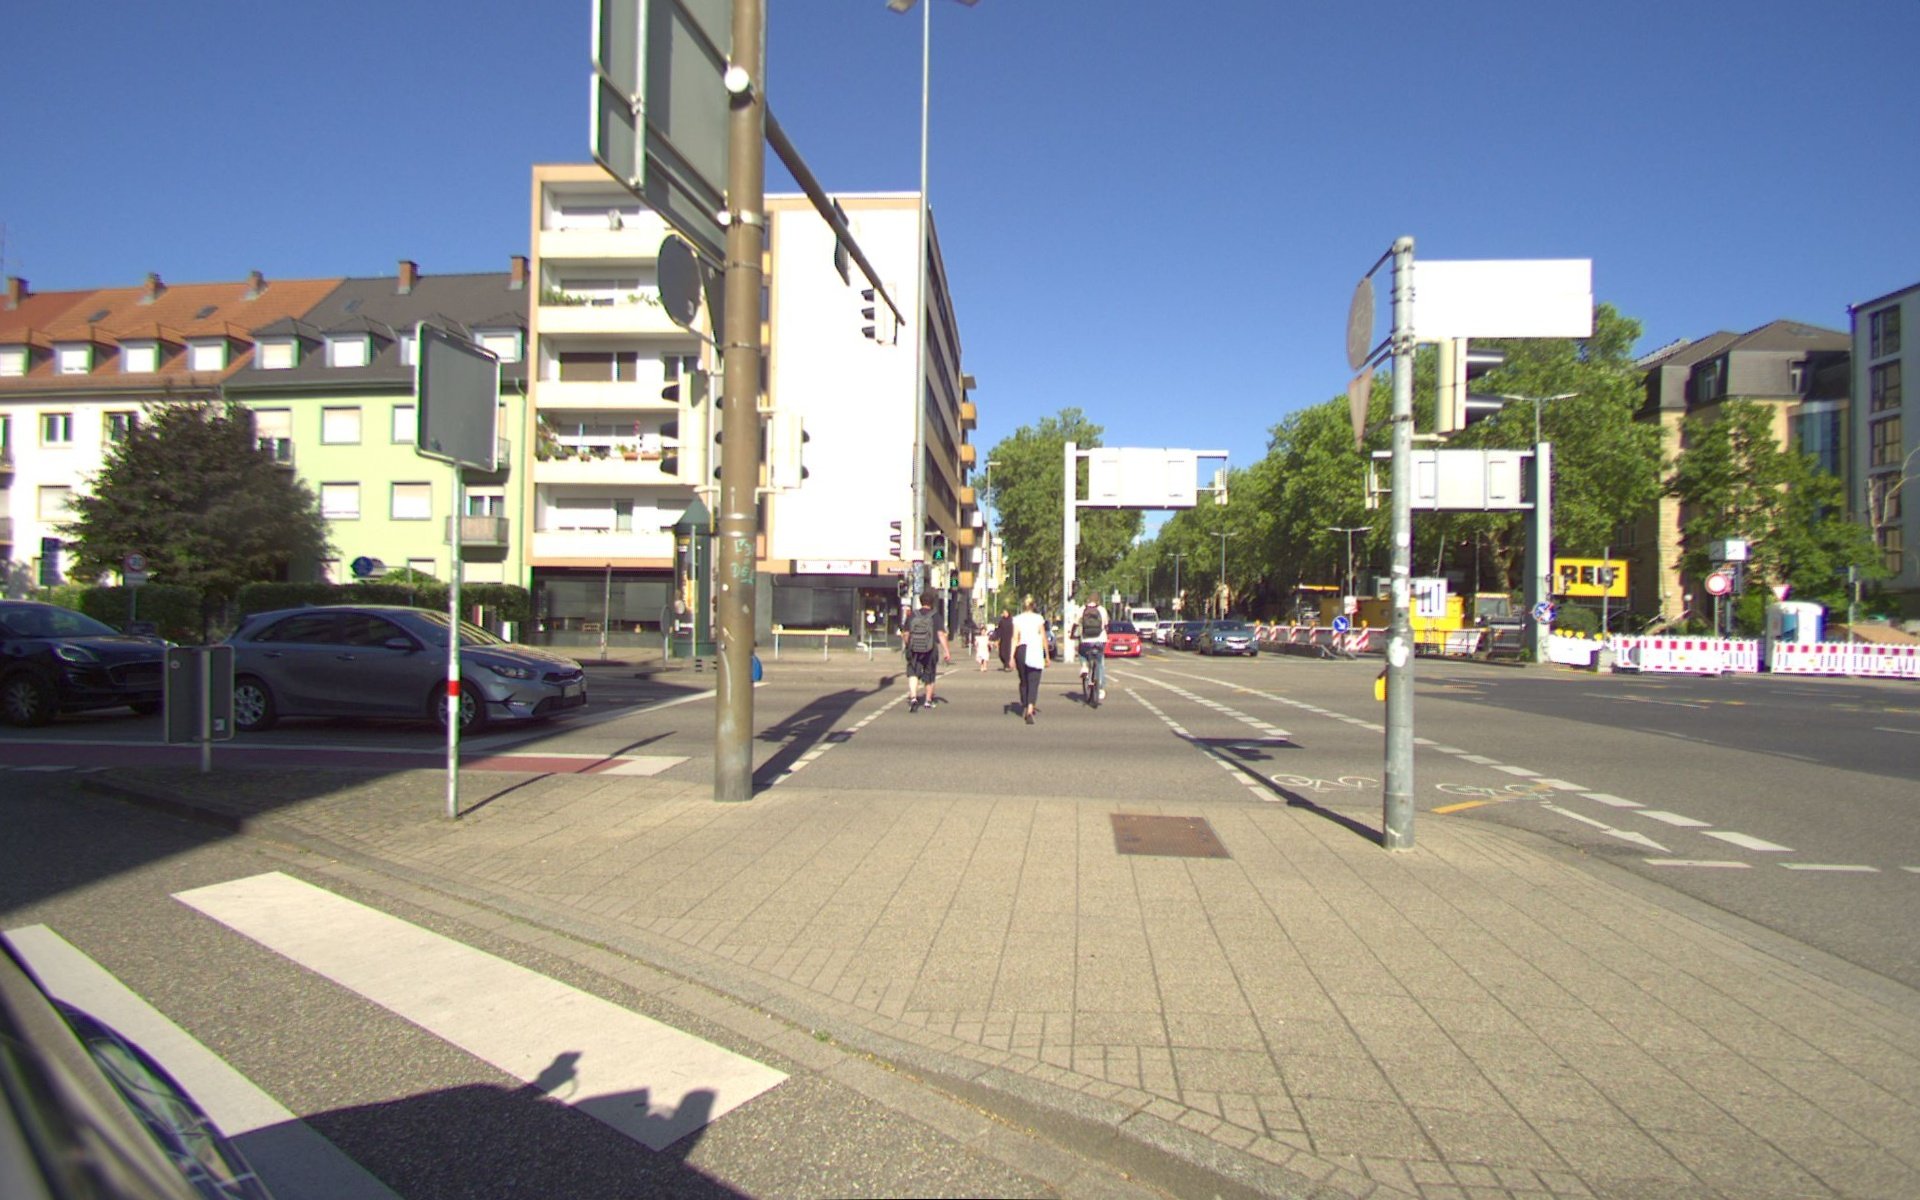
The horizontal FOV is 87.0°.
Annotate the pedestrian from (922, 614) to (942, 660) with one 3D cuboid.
[{"bbox_3d":[-1.081,1.419,39.032,0.710,1.691,0.696,0,1,3],"label":"pedestrian"}]

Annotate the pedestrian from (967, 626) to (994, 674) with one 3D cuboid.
[{"bbox_3d":[0.544,1.317,26.738,0.641,1.211,0.524,0,1,12],"label":"pedestrian"}]

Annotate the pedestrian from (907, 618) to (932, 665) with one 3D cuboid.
[{"bbox_3d":[-1.505,1.533,37.625,0.707,1.691,0.699,-1,2,-25],"label":"pedestrian"}]

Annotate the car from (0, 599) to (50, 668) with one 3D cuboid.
[{"bbox_3d":[-28.919,0.958,29.028,4.113,1.871,1.803,0,1,4],"label":"car"}]

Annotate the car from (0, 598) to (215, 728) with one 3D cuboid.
[{"bbox_3d":[-12.006,0.751,12.920,4.028,1.503,1.692,0,-1,9],"label":"car"}]

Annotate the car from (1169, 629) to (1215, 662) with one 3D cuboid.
[{"bbox_3d":[12.738,2.464,55.840,1.860,1.530,3.995,0,2,4],"label":"car"}]

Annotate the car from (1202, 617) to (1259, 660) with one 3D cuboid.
[{"bbox_3d":[11.333,1.592,42.660,1.863,1.530,3.990,0,2,8],"label":"car"}]

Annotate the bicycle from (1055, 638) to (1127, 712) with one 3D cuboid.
[{"bbox_3d":[1.998,1.090,15.190,0.859,0.998,1.893,0,-2,14],"label":"bicycle"}]

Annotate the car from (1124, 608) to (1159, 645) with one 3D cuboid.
[{"bbox_3d":[12.716,1.834,71.047,1.860,2.532,4.446,0,-1,3],"label":"car"}]

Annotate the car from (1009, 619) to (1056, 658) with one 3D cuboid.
[{"bbox_3d":[3.019,1.651,42.499,1.860,1.531,4.544,0,-3,4],"label":"car"}]

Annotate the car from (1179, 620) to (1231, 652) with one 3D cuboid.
[{"bbox_3d":[12.114,1.764,50.187,1.860,1.530,3.995,0,-1,4],"label":"car"}]

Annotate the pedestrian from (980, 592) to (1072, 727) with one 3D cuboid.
[{"bbox_3d":[0.841,0.724,12.990,0.773,1.619,0.933,-1,2,-32],"label":"pedestrian"}]

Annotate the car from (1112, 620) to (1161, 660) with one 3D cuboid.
[{"bbox_3d":[7.129,1.597,41.185,1.863,1.530,3.990,0,-1,8],"label":"car"}]

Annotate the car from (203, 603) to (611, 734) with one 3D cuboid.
[{"bbox_3d":[-6.524,0.757,12.170,4.010,1.418,1.879,0,-1,8],"label":"car"}]

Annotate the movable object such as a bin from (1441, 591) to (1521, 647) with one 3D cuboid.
[{"bbox_3d":[24.882,0.866,48.483,1.975,2.494,3.995,0,2,5],"label":"movable object such as a bin"}]

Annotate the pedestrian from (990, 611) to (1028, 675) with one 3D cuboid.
[{"bbox_3d":[1.291,1.108,26.429,0.889,1.634,0.718,0,1,12],"label":"pedestrian"}]

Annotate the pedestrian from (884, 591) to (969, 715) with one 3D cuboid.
[{"bbox_3d":[-0.480,0.709,14.285,0.784,1.655,0.987,-1,2,-32],"label":"pedestrian"}]

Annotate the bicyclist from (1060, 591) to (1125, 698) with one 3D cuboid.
[{"bbox_3d":[1.993,0.643,15.154,0.862,1.545,0.848,0,0,16],"label":"bicyclist"}]
